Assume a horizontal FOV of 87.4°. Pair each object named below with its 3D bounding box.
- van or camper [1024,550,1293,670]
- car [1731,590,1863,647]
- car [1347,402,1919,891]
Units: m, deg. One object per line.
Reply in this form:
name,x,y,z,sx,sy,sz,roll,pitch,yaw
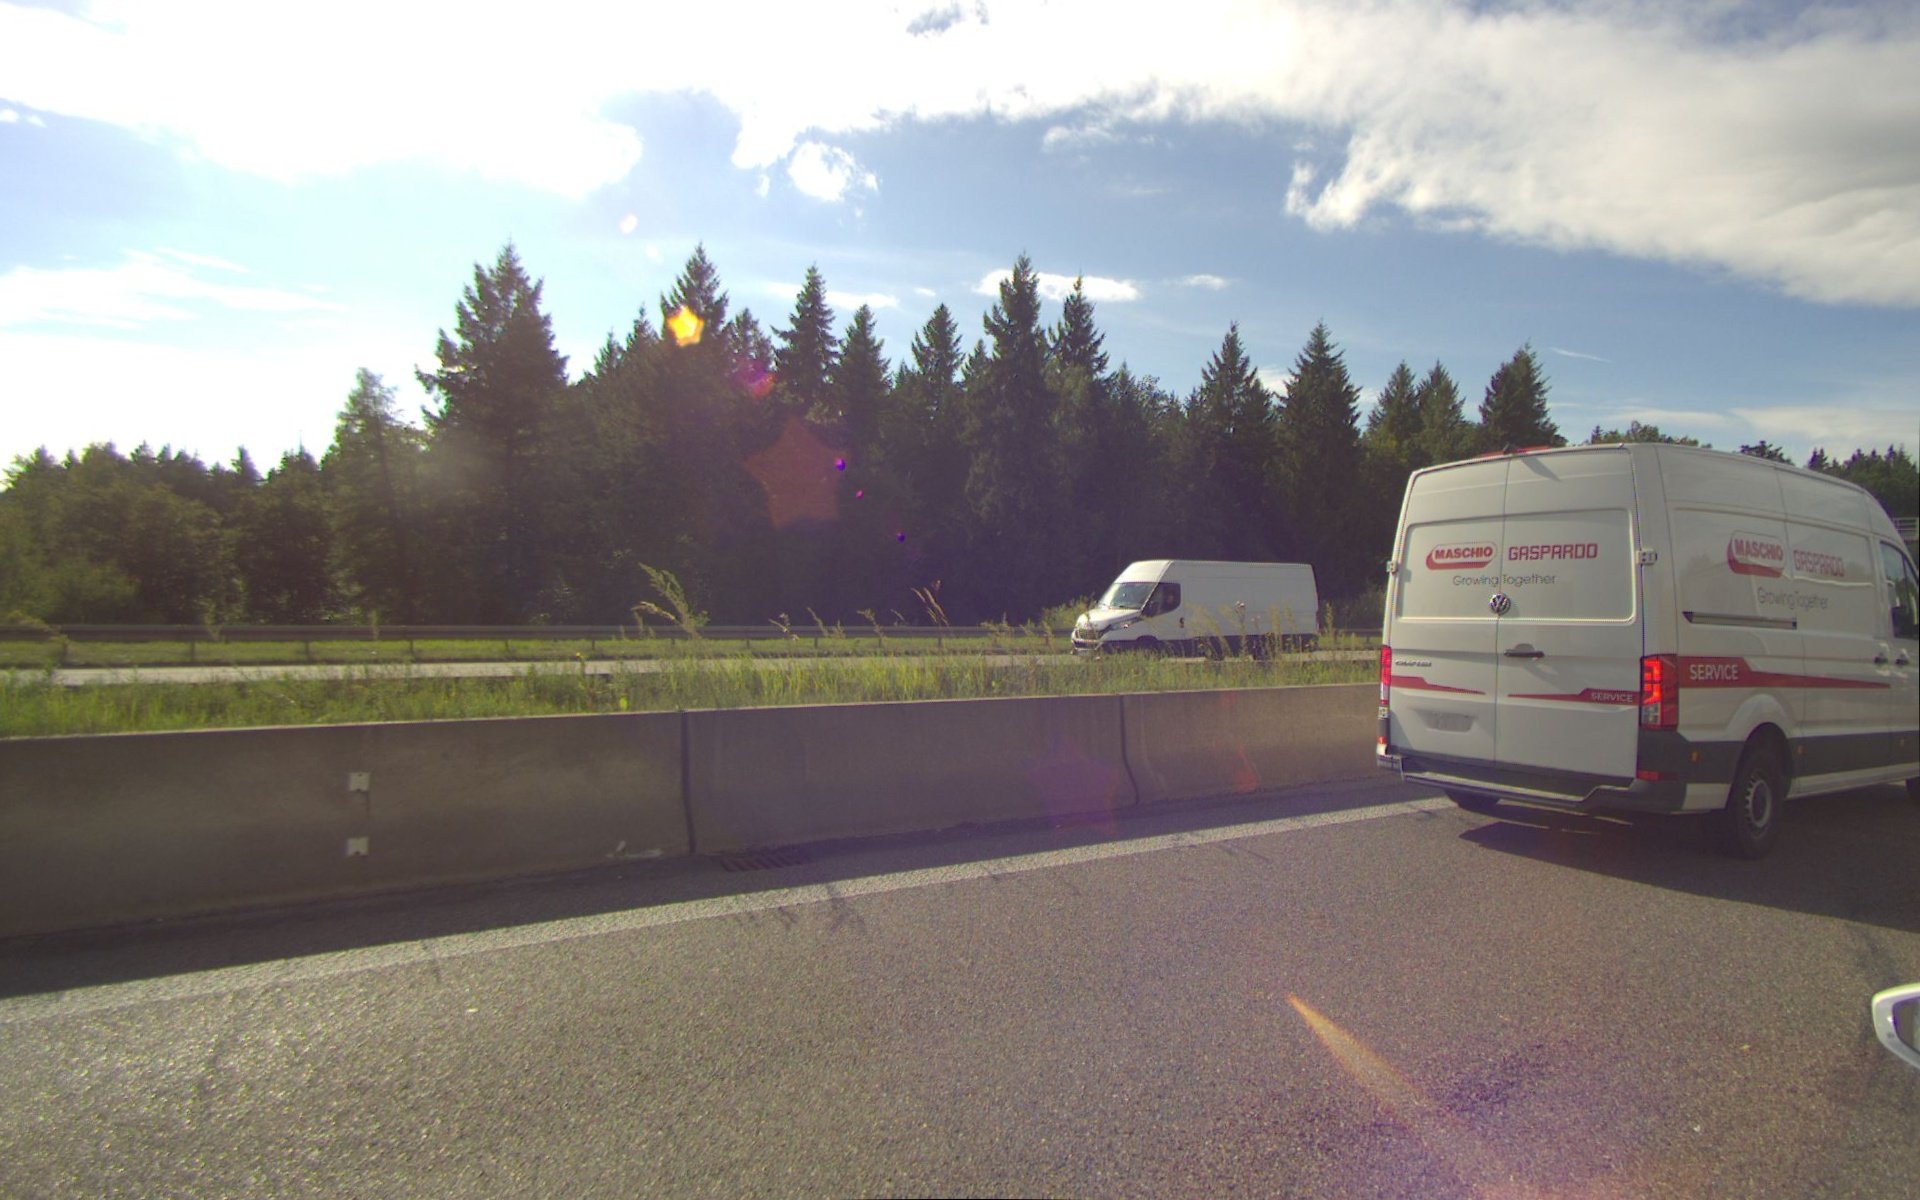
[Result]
van or camper,5.015,0.269,24.679,7.072,2.627,1.937,1,0,-32
car,36.926,0.827,44.243,6.786,2.222,2.303,2,3,-32
car,5.873,0.309,7.895,6.112,2.633,2.004,1,-1,-32
